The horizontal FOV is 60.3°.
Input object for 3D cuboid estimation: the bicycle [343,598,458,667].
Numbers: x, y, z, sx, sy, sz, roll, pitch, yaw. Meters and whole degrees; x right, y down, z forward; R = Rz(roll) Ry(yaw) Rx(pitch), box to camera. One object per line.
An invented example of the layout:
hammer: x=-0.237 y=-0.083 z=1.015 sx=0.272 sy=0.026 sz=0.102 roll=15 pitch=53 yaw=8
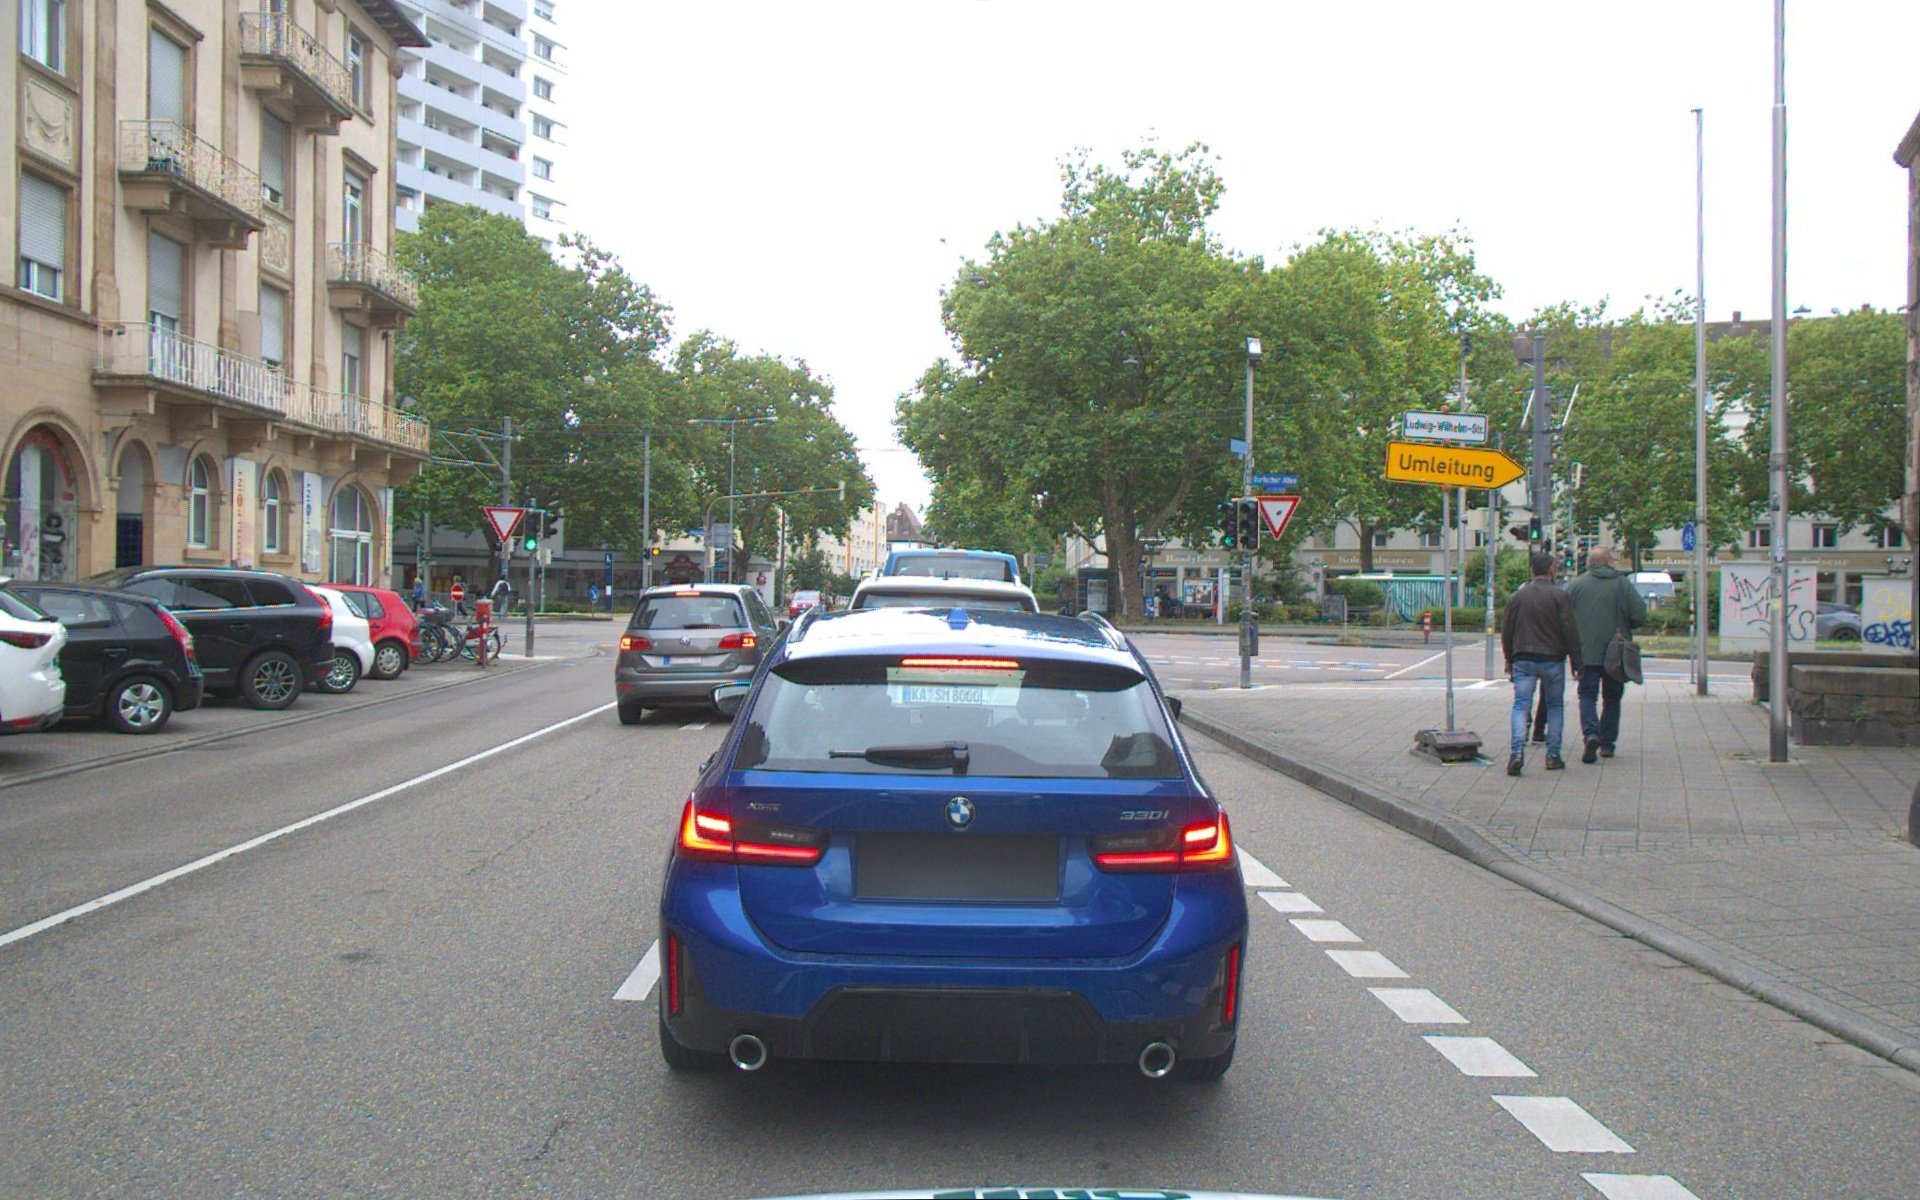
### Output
bicycle: x=-10.248 y=0.586 z=30.339 sx=1.849 sy=1.053 sz=0.442 roll=6 pitch=0 yaw=-3

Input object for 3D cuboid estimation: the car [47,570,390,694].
car: x=-10.077 y=0.469 z=22.664 sx=3.968 sy=1.498 sz=1.540 roll=3 pitch=0 yaw=-44

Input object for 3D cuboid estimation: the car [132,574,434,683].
car: x=-10.360 y=0.436 z=25.509 sx=1.653 sy=1.498 sz=3.978 roll=3 pitch=1 yaw=40

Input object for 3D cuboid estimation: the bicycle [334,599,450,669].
bicycle: x=-10.226 y=0.607 z=29.804 sx=1.849 sy=1.053 sz=0.442 roll=6 pitch=0 yaw=-3

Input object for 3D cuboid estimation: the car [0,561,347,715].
car: x=-9.828 y=0.431 z=20.019 sx=4.192 sy=1.680 sz=1.704 roll=1 pitch=0 yaw=-44

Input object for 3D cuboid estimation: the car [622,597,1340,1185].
car: x=0.025 y=0.721 z=6.273 sx=1.778 sy=1.430 sz=4.319 roll=0 pitch=0 yaw=-1

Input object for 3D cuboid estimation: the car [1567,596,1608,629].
car: x=30.936 y=0.602 z=81.493 sx=1.632 sy=1.542 sz=3.935 roll=1 pitch=0 yaw=25

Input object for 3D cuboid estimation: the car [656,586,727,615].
car: x=-16.887 y=0.036 z=104.190 sx=3.953 sy=1.736 sz=1.976 roll=1 pitch=0 yaw=-35

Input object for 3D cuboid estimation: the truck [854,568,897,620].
truck: x=-4.103 y=-0.330 z=80.899 sx=2.033 sy=2.450 sz=5.460 roll=0 pitch=1 yaw=-3

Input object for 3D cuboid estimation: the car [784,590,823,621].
car: x=-7.831 y=0.254 z=82.979 sx=1.615 sy=1.472 sz=3.510 roll=0 pitch=0 yaw=-1

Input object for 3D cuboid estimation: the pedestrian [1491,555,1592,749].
pedestrian: x=5.310 y=0.459 z=15.156 sx=0.619 sy=1.702 sz=0.970 roll=-2 pitch=0 yaw=6

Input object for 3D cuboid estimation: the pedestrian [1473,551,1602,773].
pedestrian: x=4.680 y=0.482 z=13.455 sx=0.660 sy=1.715 sz=0.969 roll=-2 pitch=0 yaw=-1

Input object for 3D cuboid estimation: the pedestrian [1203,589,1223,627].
pedestrian: x=11.941 y=0.391 z=78.014 sx=0.768 sy=1.774 sz=0.925 roll=0 pitch=0 yaw=-2

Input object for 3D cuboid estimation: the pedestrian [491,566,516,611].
pedestrian: x=-18.509 y=-0.470 z=67.072 sx=0.664 sy=1.802 sz=0.722 roll=0 pitch=0 yaw=41

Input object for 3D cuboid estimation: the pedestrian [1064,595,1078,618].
pedestrian: x=6.984 y=0.409 z=104.105 sx=0.801 sy=1.396 sz=0.762 roll=0 pitch=0 yaw=-1

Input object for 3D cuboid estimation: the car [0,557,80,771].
car: x=-9.596 y=0.488 z=13.693 sx=3.937 sy=1.754 sz=1.826 roll=1 pitch=0 yaw=-26

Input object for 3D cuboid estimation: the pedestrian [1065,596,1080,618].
pedestrian: x=7.018 y=0.439 z=103.154 sx=0.835 sy=1.337 sz=0.762 roll=0 pitch=0 yaw=-1

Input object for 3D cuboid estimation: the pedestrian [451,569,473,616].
pedestrian: x=-19.300 y=-0.291 z=64.107 sx=0.661 sy=1.802 sz=0.726 roll=0 pitch=0 yaw=-1

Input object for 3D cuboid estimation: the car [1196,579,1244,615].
car: x=16.955 y=-0.200 z=107.653 sx=2.130 sy=2.239 sz=3.999 roll=0 pitch=0 yaw=23

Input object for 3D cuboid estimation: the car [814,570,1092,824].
car: x=-0.074 y=0.610 z=12.628 sx=1.778 sy=1.620 sz=3.999 roll=0 pitch=0 yaw=-1

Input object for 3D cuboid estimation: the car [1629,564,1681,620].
car: x=34.934 y=-0.393 z=83.015 sx=2.191 sy=2.685 sz=5.443 roll=1 pitch=0 yaw=25

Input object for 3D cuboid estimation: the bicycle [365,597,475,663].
bicycle: x=-10.321 y=0.575 z=31.635 sx=1.849 sy=1.053 sz=0.442 roll=6 pitch=0 yaw=-3

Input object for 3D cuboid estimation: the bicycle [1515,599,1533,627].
bicycle: x=20.516 y=0.470 z=60.171 sx=0.540 sy=1.013 sz=2.061 roll=0 pitch=0 yaw=21

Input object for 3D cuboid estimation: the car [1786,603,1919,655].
car: x=28.687 y=0.897 z=52.956 sx=3.895 sy=1.589 sz=1.687 roll=0 pitch=0 yaw=22

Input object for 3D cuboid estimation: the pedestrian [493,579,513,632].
pedestrian: x=-17.926 y=0.224 z=64.907 sx=0.613 sy=2.049 sz=0.617 roll=1 pitch=-1 yaw=-3

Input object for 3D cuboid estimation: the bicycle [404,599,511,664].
bicycle: x=-9.778 y=0.616 z=32.192 sx=1.849 sy=1.053 sz=0.442 roll=6 pitch=0 yaw=-3

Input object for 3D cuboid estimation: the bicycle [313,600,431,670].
bicycle: x=-10.301 y=0.609 z=28.986 sx=1.848 sy=1.053 sz=0.442 roll=5 pitch=0 yaw=2

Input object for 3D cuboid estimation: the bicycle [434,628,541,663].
bicycle: x=-9.475 y=0.915 z=33.236 sx=1.849 sy=0.453 sz=1.028 roll=6 pitch=2 yaw=-3

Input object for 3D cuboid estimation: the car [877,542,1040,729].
car: x=-0.045 y=0.374 z=20.085 sx=1.778 sy=2.040 sz=3.999 roll=0 pitch=0 yaw=-1

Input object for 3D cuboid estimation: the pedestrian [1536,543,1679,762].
pedestrian: x=5.515 y=0.428 z=14.132 sx=0.788 sy=1.789 sz=0.969 roll=-2 pitch=0 yaw=-1

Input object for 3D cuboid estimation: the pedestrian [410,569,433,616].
pedestrian: x=-20.654 y=-0.283 z=63.458 sx=0.661 sy=1.802 sz=0.726 roll=0 pitch=0 yaw=-1

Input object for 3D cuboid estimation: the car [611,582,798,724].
car: x=-2.995 y=0.568 z=20.110 sx=1.697 sy=1.551 sz=3.999 roll=0 pitch=0 yaw=-1

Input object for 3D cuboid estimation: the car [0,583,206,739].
car: x=-9.952 y=0.585 z=16.713 sx=3.959 sy=1.521 sz=1.708 roll=1 pitch=0 yaw=-39

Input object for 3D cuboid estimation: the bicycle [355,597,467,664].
bicycle: x=-10.276 y=0.561 z=31.000 sx=1.849 sy=1.053 sz=0.442 roll=6 pitch=0 yaw=-3
